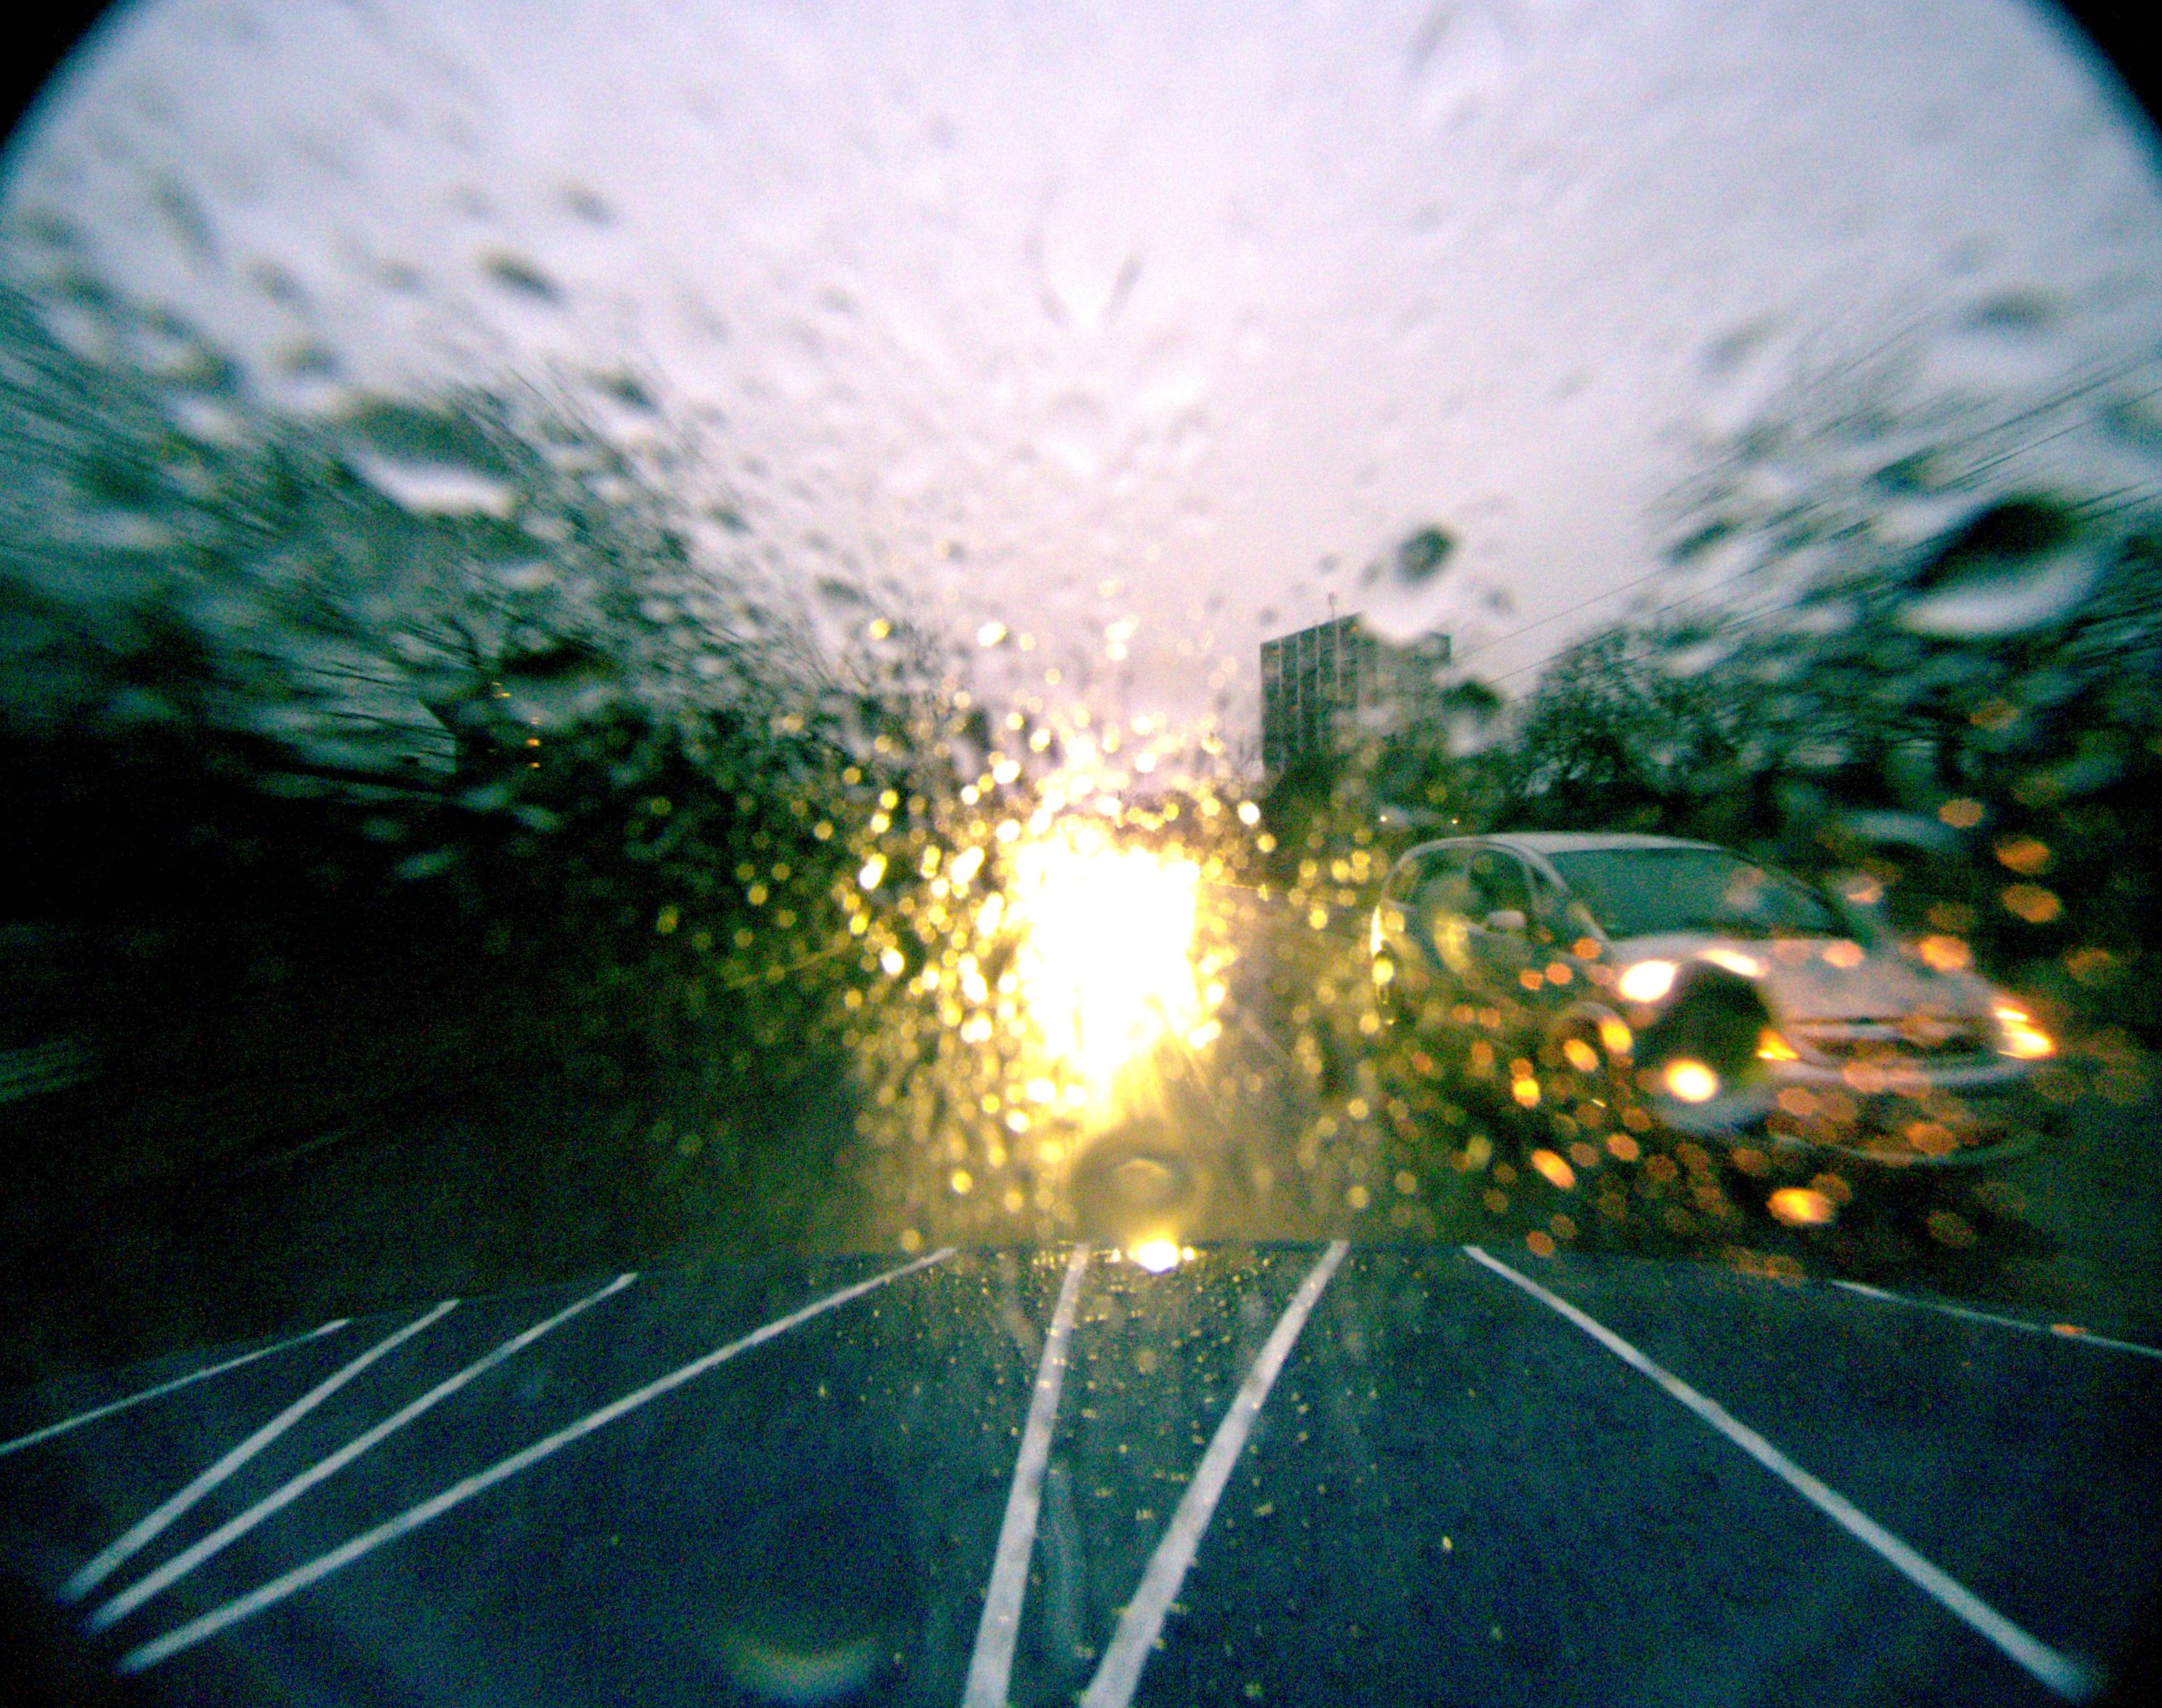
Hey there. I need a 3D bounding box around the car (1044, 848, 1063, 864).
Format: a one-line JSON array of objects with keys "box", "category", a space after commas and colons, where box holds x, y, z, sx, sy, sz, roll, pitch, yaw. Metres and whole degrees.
[{"box": [-2.892, 0.188, 79.568, 1.953, 1.590, 4.123, -1, 0, -3], "category": "car"}]

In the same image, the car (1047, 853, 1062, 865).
[{"box": [-3.644, 0.732, 104.760, 1.953, 1.590, 4.123, -1, 0, -3], "category": "car"}]

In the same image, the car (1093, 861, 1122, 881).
[{"box": [2.281, 1.466, 66.931, 1.999, 1.652, 3.997, -2, 1, -5], "category": "car"}]

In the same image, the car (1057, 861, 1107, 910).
[{"box": [0.026, 1.078, 27.725, 1.679, 1.590, 4.044, -1, 0, 0], "category": "car"}]

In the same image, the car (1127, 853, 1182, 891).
[{"box": [3.219, 0.747, 34.184, 1.953, 1.590, 4.123, -1, 0, -1], "category": "car"}]

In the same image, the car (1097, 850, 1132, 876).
[{"box": [2.147, 0.548, 49.424, 1.953, 1.590, 4.123, -1, 0, -1], "category": "car"}]

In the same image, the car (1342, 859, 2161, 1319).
[{"box": [3.259, 0.837, 4.767, 1.694, 1.530, 4.189, -2, 0, -1], "category": "car"}]

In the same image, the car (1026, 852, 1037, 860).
[{"box": [-10.183, 0.370, 157.188, 1.954, 1.590, 4.121, -1, 0, -7], "category": "car"}]
